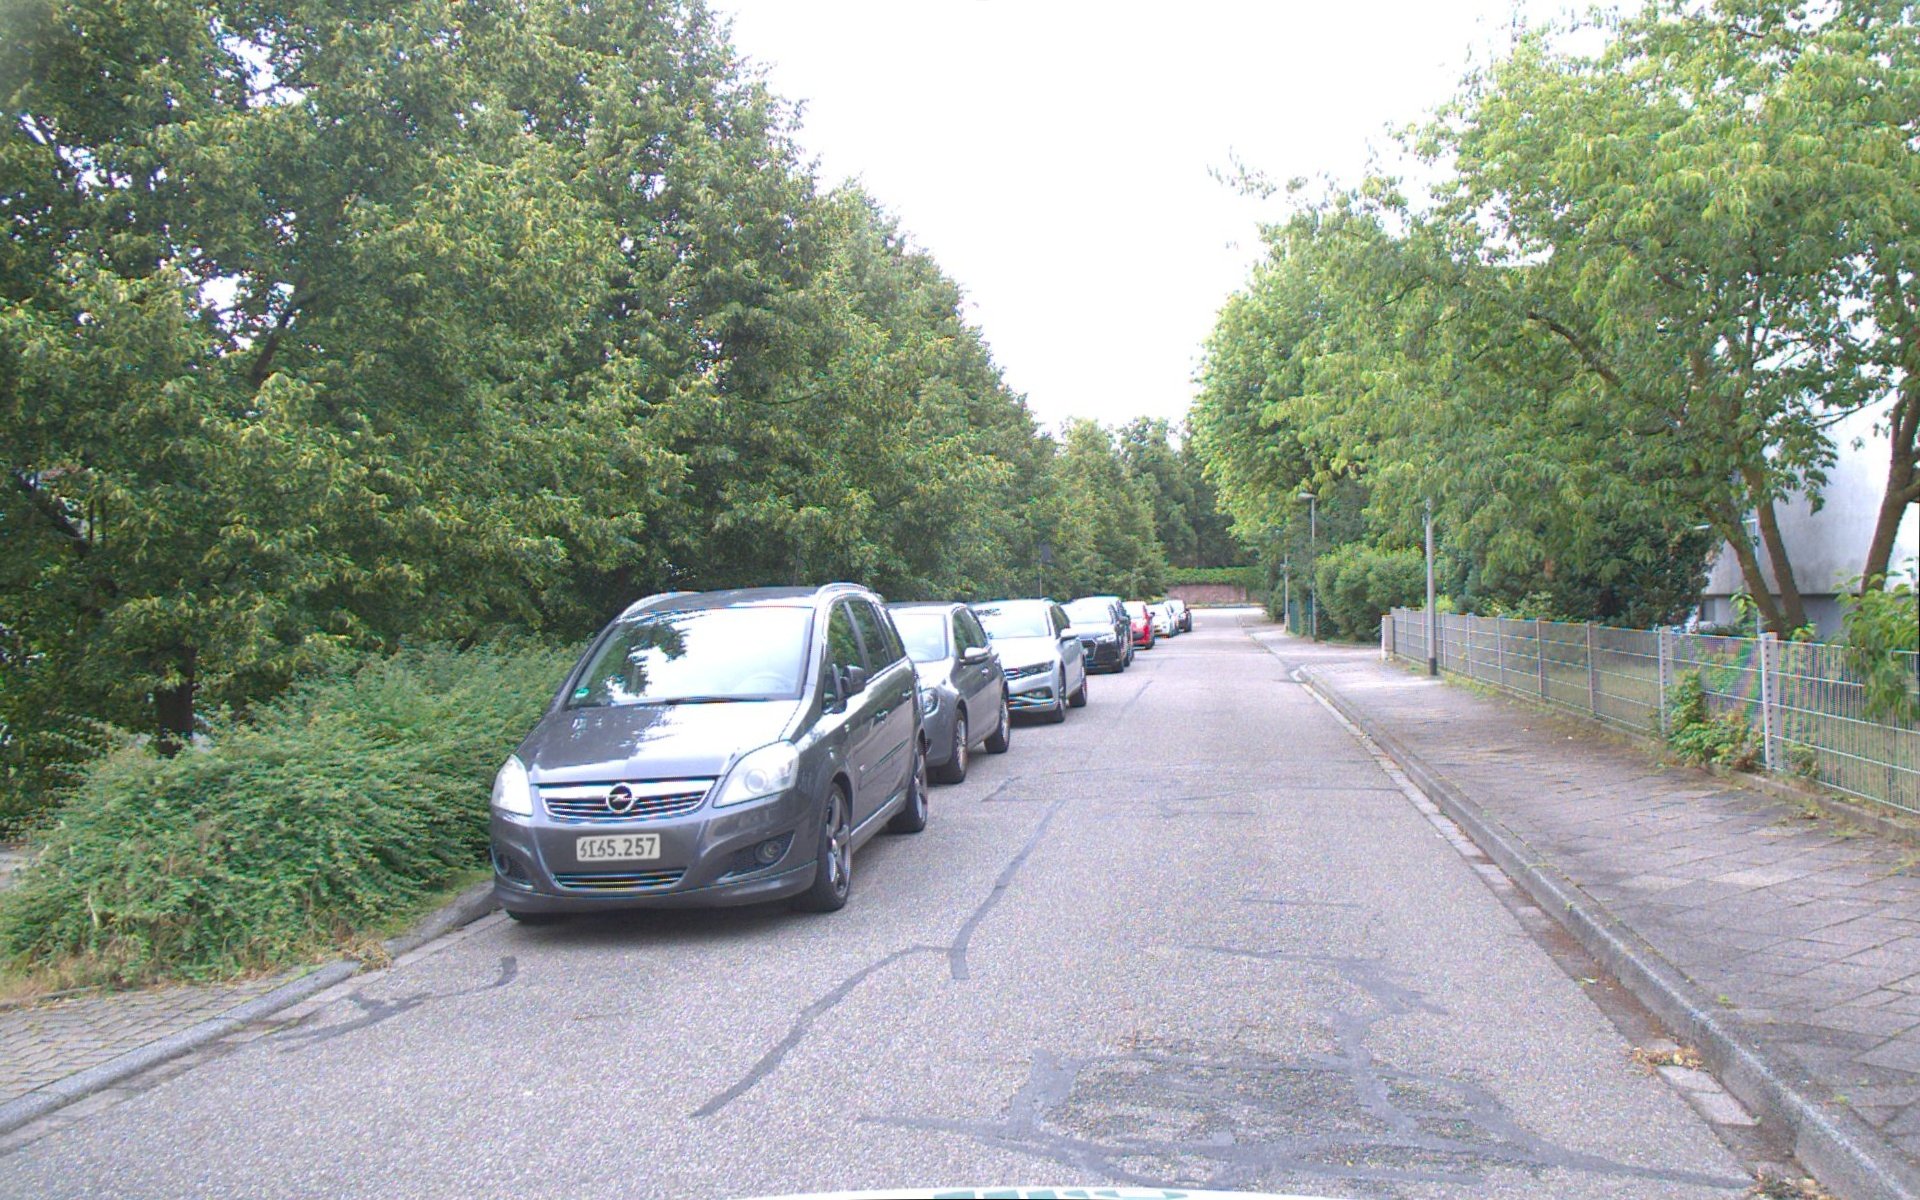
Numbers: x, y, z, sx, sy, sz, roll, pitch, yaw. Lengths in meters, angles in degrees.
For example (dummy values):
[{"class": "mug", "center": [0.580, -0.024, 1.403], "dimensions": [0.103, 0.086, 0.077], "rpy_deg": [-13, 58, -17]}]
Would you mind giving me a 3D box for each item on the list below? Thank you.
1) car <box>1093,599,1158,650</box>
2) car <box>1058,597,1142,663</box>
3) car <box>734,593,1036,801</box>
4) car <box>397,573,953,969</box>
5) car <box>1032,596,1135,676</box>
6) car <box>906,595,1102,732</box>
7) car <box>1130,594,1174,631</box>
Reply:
[{"class": "car", "center": [5.301, 0.754, 52.582], "dimensions": [1.714, 1.450, 4.004], "rpy_deg": [-3, 0, 9]}, {"class": "car", "center": [3.527, 0.709, 41.092], "dimensions": [1.714, 1.450, 4.004], "rpy_deg": [-3, 0, 9]}, {"class": "car", "center": [-0.500, 0.751, 14.964], "dimensions": [1.720, 1.504, 4.309], "rpy_deg": [-4, 0, 10]}, {"class": "car", "center": [-1.261, 0.737, 9.397], "dimensions": [1.720, 1.621, 4.556], "rpy_deg": [-4, 0, 8]}, {"class": "car", "center": [2.610, 0.703, 34.210], "dimensions": [1.714, 1.450, 4.004], "rpy_deg": [-3, 0, 9]}, {"class": "car", "center": [0.682, 0.721, 21.002], "dimensions": [1.738, 1.453, 4.482], "rpy_deg": [-3, 0, 10]}, {"class": "car", "center": [8.723, 0.552, 74.947], "dimensions": [1.714, 1.546, 4.003], "rpy_deg": [-2, 0, 9]}]
